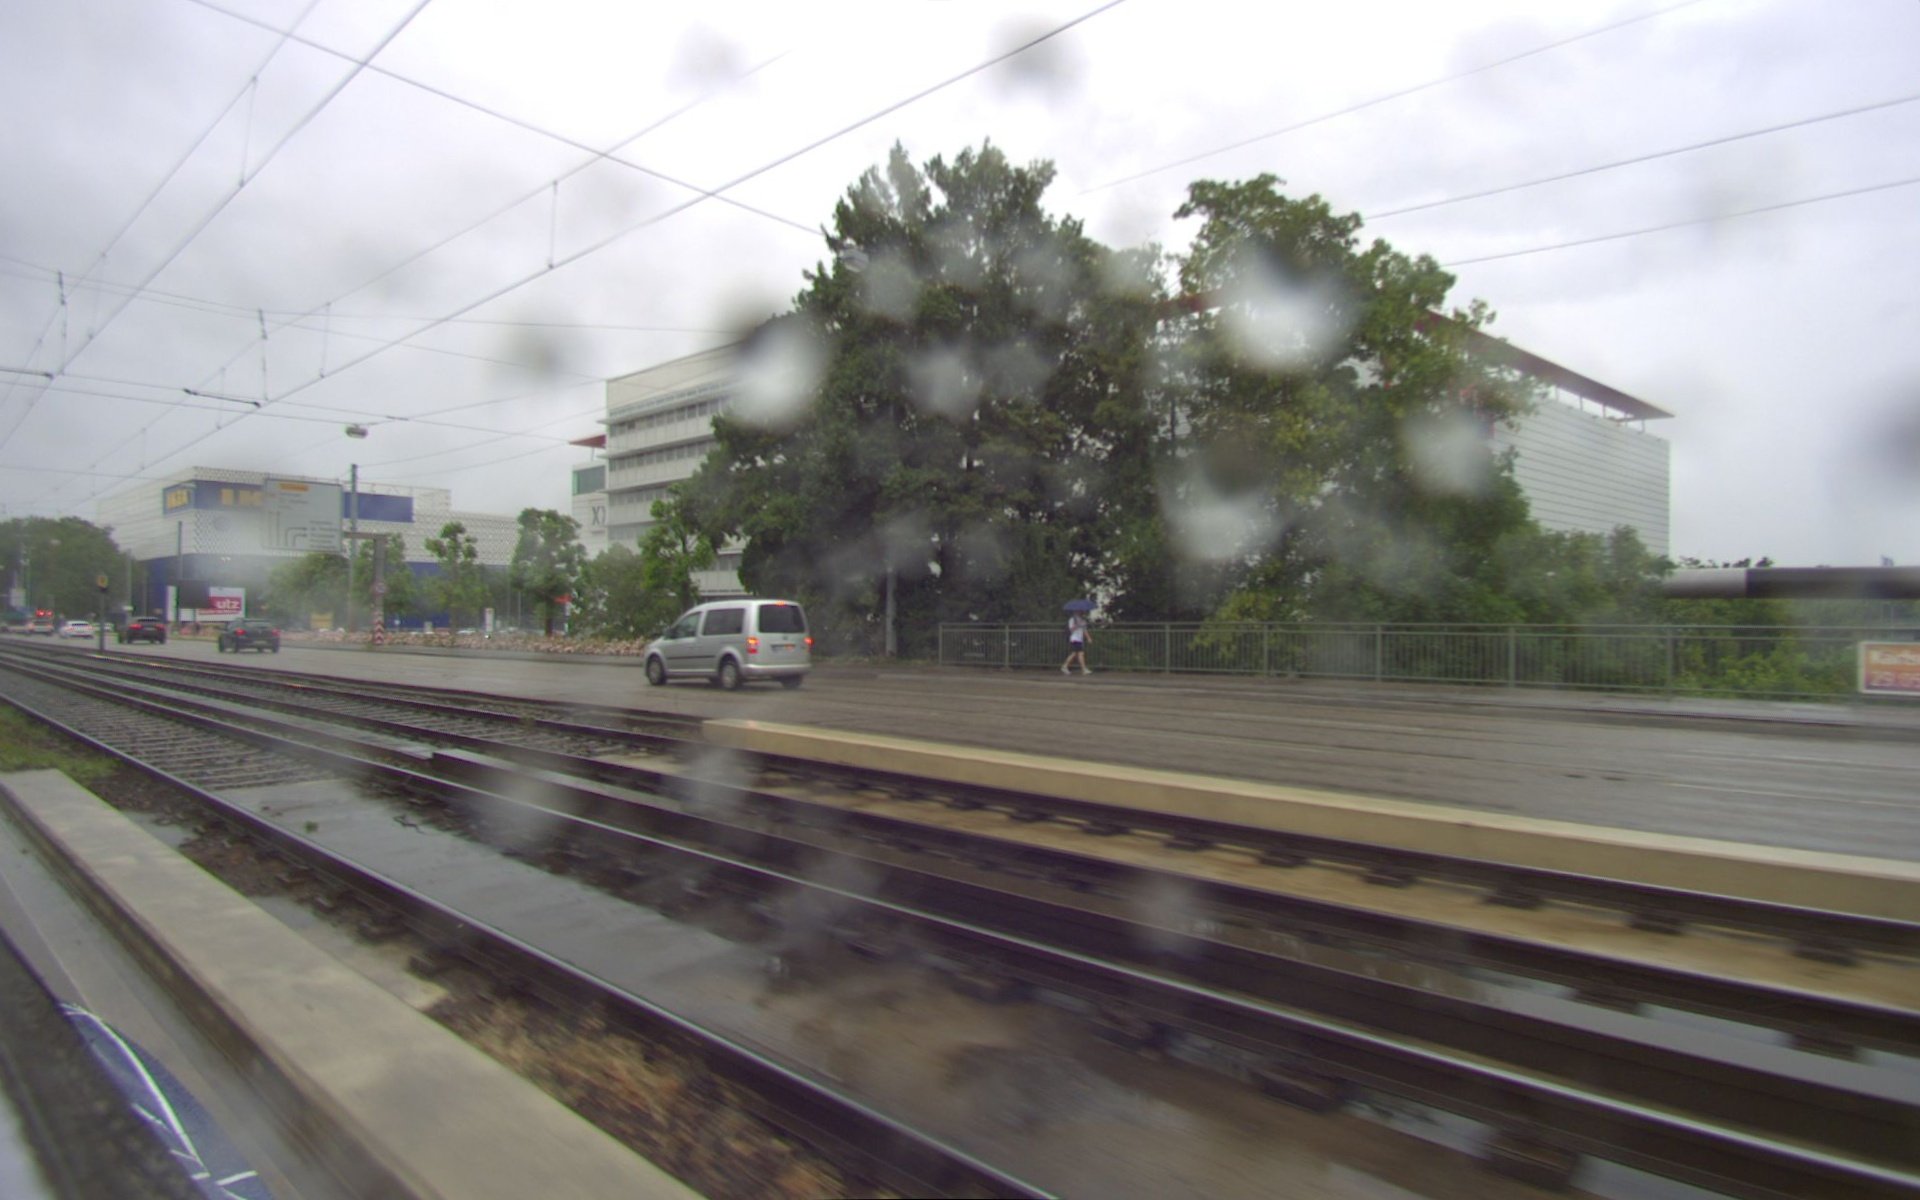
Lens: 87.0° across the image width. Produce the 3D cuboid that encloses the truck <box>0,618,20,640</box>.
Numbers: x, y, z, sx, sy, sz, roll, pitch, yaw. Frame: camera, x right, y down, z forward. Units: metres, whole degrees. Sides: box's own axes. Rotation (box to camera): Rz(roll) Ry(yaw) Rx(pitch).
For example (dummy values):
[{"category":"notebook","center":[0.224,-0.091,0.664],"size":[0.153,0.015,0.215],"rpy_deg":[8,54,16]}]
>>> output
[{"category":"truck","center":[-111.589,3.400,117.956],"size":[7.218,2.476,2.408],"rpy_deg":[-1,-3,43]}]

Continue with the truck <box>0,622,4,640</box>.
[{"category":"truck","center":[-132.492,4.188,138.221],"size":[6.065,2.480,2.203],"rpy_deg":[-1,-4,42]}]

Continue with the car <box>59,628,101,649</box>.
[{"category":"car","center":[-69.437,3.000,79.818],"size":[4.766,1.595,1.972],"rpy_deg":[-2,-3,43]}]

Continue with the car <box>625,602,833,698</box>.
[{"category":"car","center":[-4.997,0.997,21.549],"size":[4.656,1.829,1.973],"rpy_deg":[-1,-2,41]}]

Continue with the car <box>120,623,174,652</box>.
[{"category":"car","center":[-50.256,2.306,62.525],"size":[4.686,1.695,1.753],"rpy_deg":[-1,-2,41]}]

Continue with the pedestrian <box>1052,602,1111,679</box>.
[{"category":"pedestrian","center":[2.898,0.965,24.110],"size":[1.120,1.772,0.842],"rpy_deg":[-1,-3,42]}]

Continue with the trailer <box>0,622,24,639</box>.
[{"category":"trailer","center":[-107.294,3.470,114.208],"size":[3.836,1.806,2.096],"rpy_deg":[-1,0,42]}]

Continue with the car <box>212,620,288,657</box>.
[{"category":"car","center":[-32.321,1.725,46.033],"size":[4.253,1.630,1.972],"rpy_deg":[-1,-2,43]}]
